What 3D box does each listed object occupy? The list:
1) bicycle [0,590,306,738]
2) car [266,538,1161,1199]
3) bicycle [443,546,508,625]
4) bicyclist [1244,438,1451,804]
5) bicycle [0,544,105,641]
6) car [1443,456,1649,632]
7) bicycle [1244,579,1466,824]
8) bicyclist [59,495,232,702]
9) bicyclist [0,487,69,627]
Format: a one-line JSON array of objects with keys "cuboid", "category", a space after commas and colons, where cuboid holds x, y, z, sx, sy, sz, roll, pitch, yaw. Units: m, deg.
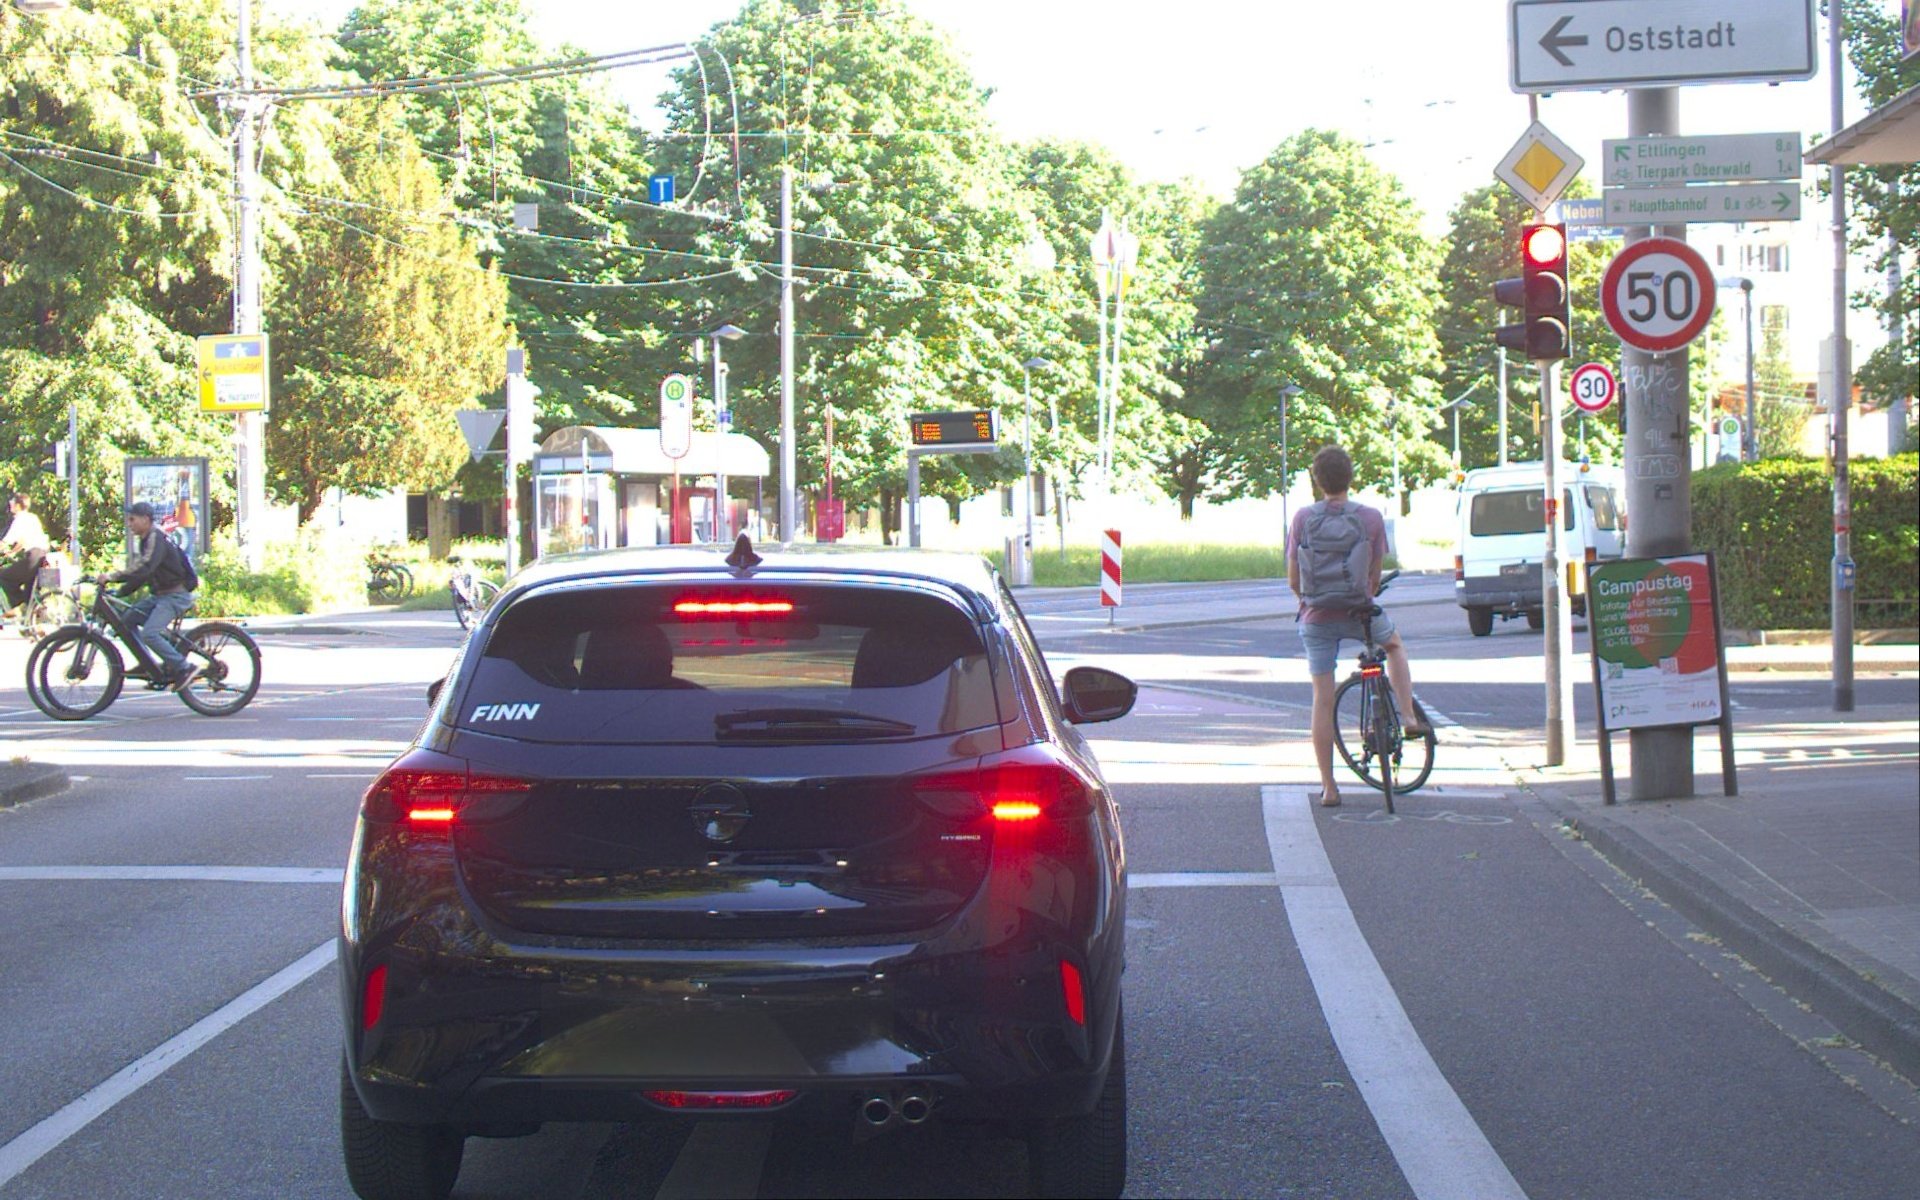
[{"cuboid": [-6.113, 0.466, 25.900, 2.190, 1.029, 0.835, -1, 1, -23], "category": "bicycle"}, {"cuboid": [-0.493, 0.568, 8.758, 1.727, 1.424, 4.187, 0, 1, 0], "category": "car"}, {"cuboid": [-6.543, -0.207, 46.490, 0.605, 1.028, 1.982, -1, 1, -1], "category": "bicycle"}, {"cuboid": [2.004, 0.099, 17.884, 0.941, 1.845, 0.864, -1, 1, -1], "category": "bicyclist"}, {"cuboid": [-10.858, -0.084, 39.463, 2.057, 1.090, 0.592, 0, 1, 22], "category": "bicycle"}, {"cuboid": [7.983, -0.775, 46.470, 2.065, 2.241, 4.883, 0, 1, 18], "category": "car"}, {"cuboid": [2.028, 0.491, 17.957, 0.860, 1.149, 2.172, -1, 1, -1], "category": "bicycle"}, {"cuboid": [-6.138, -0.025, 25.885, 1.112, 1.515, 0.922, -1, 1, -23], "category": "bicyclist"}, {"cuboid": [-10.791, -0.497, 39.450, 0.862, 1.589, 0.648, 0, 1, 22], "category": "bicyclist"}]
